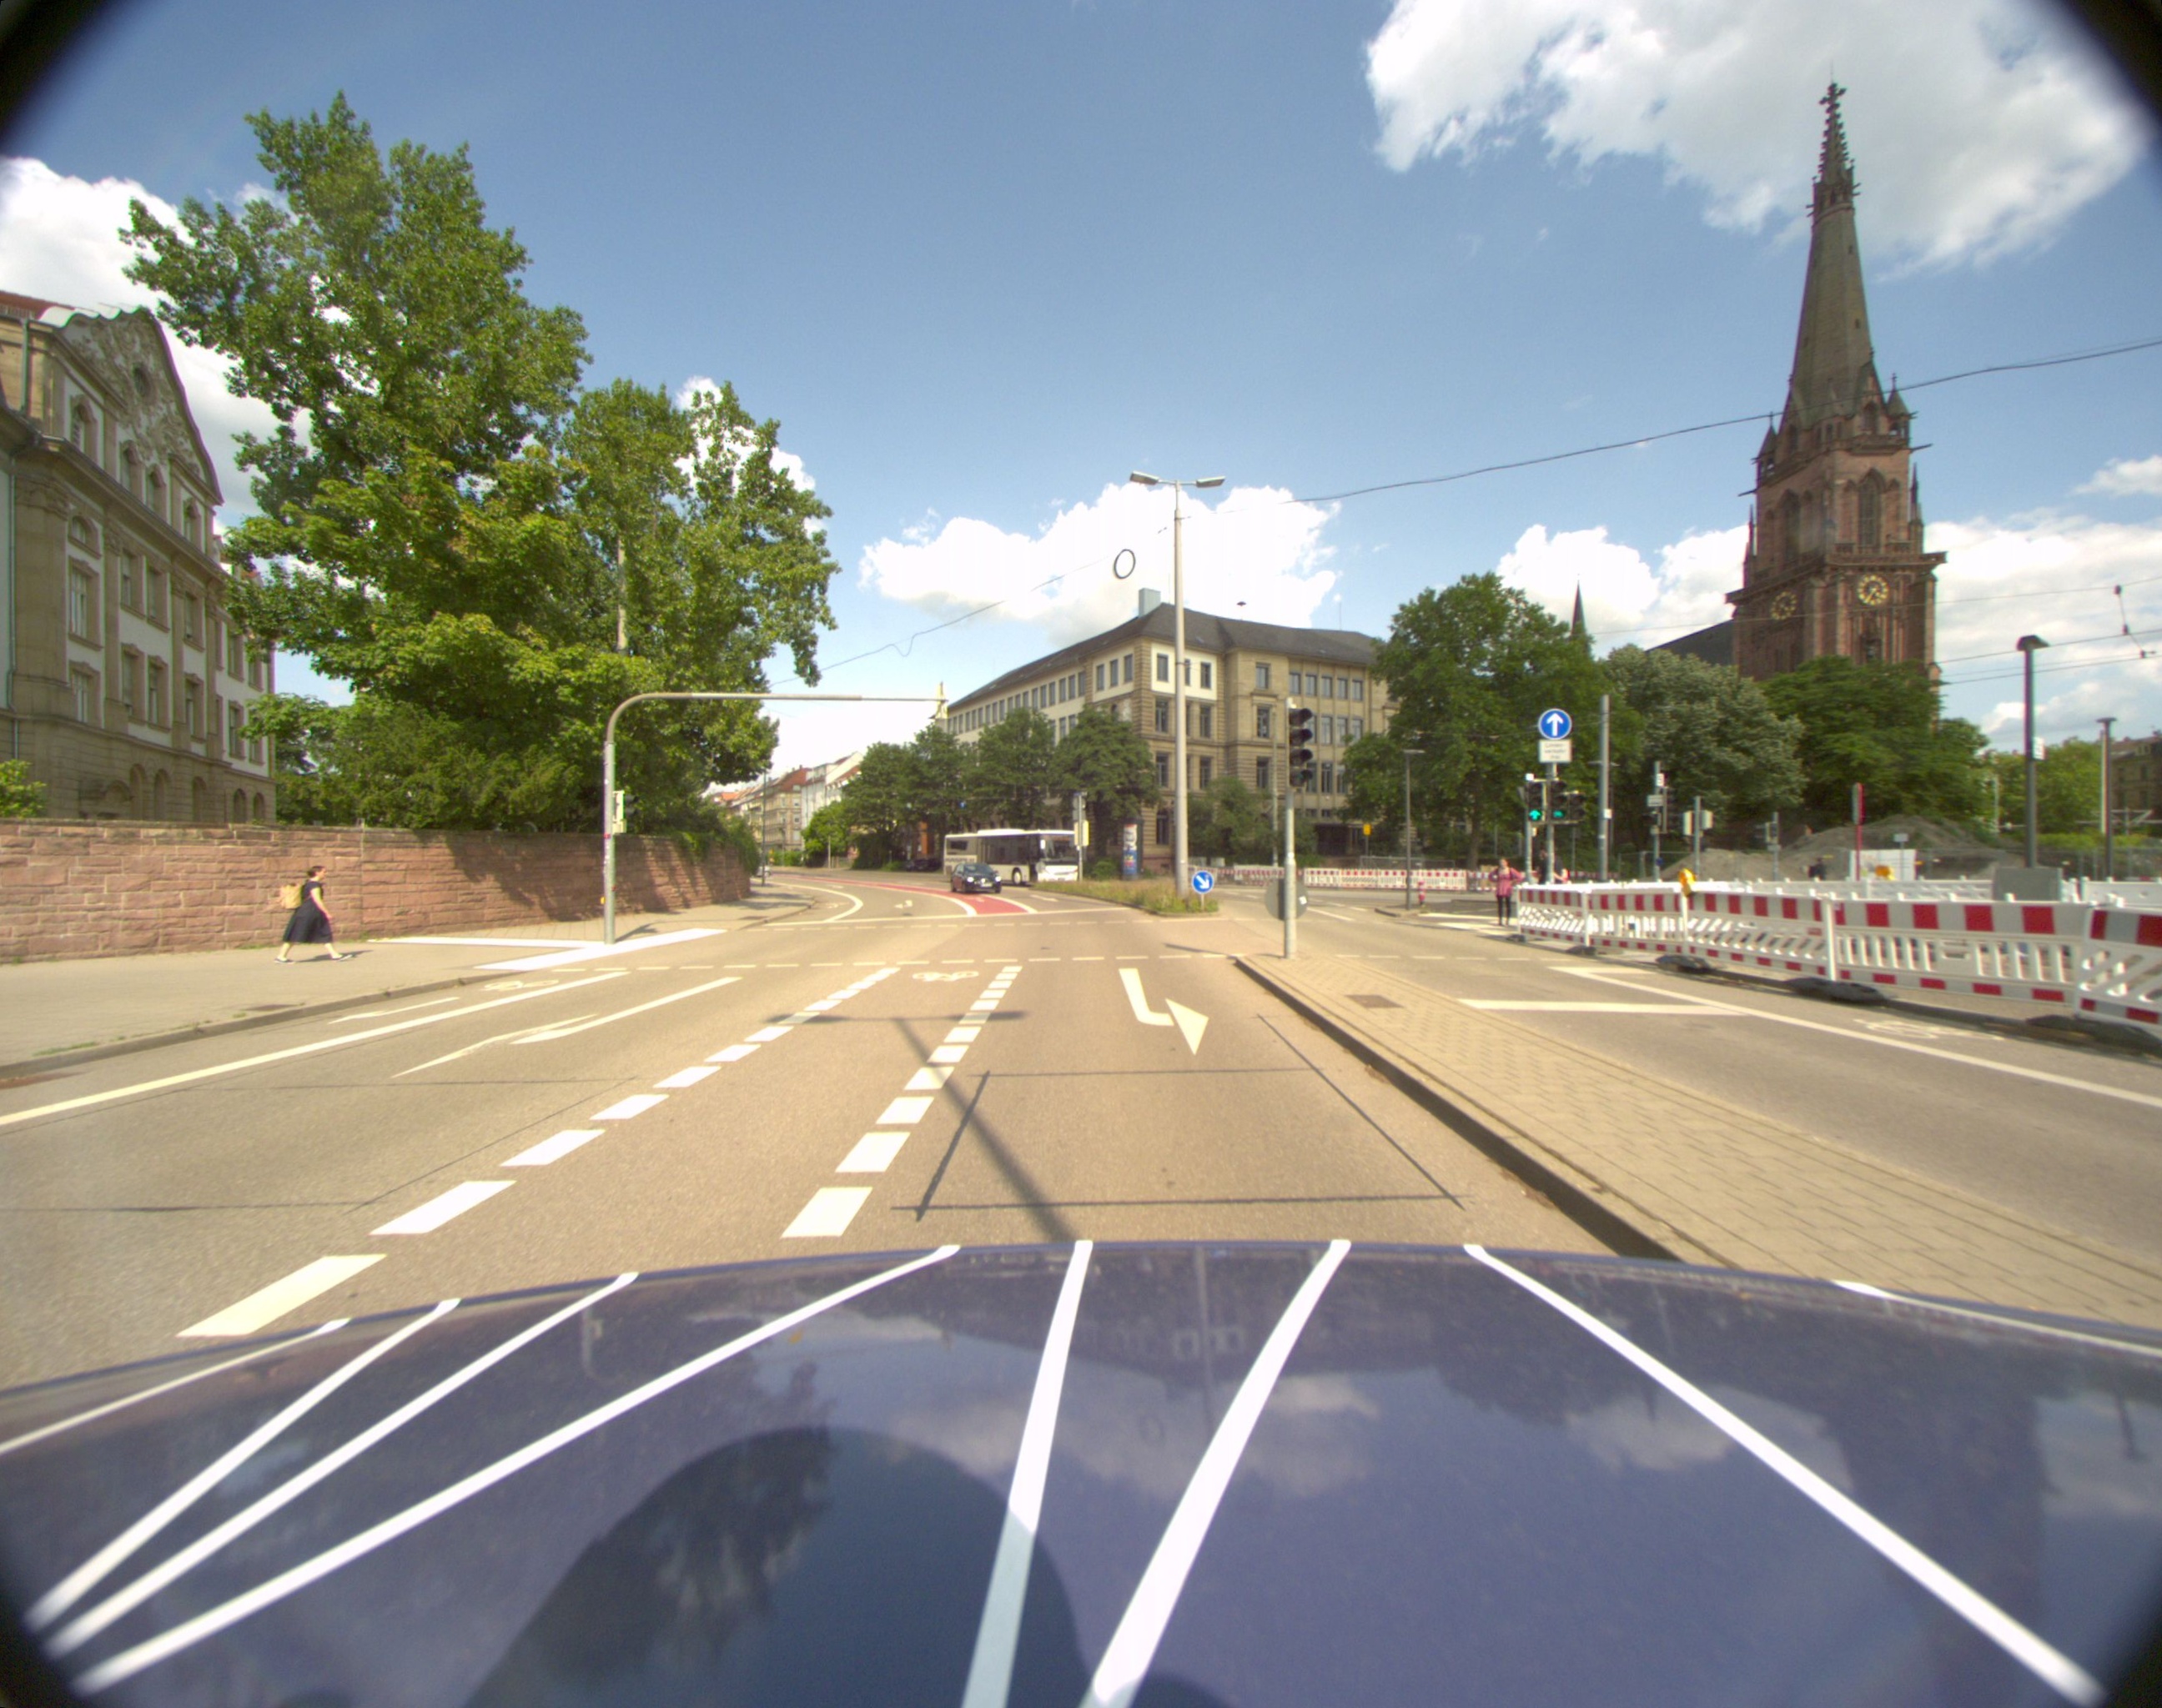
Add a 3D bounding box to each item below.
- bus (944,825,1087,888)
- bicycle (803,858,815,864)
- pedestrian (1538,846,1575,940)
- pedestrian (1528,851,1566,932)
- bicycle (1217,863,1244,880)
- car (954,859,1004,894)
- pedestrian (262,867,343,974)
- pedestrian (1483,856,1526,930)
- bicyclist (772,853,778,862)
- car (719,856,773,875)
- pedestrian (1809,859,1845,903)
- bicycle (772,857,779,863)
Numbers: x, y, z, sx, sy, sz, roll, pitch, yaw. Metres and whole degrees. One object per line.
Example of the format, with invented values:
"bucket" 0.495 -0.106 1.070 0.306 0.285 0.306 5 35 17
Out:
"bus" -4.362 0.083 46.253 2.932 3.309 12.173 -1 1 -35
"bicycle" -43.173 1.160 120.608 1.148 0.904 2.981 -4 2 -34
"pedestrian" 9.745 0.778 15.580 0.611 1.874 0.795 0 0 30
"pedestrian" 10.163 0.804 16.589 0.409 1.726 0.621 0 0 -6
"bicycle" 11.046 1.312 56.030 2.125 1.161 0.728 -1 1 -36
"car" -5.030 1.040 37.087 1.696 1.567 4.150 0 0 -19
"pedestrian" -12.546 1.032 12.263 0.748 1.630 0.889 1 1 44
"pedestrian" 9.782 0.884 17.575 0.613 1.696 0.622 0 0 -13
"bicyclist" -51.751 0.569 128.687 0.694 1.510 0.865 1 -1 -38
"car" -28.751 1.017 65.263 3.900 1.595 1.661 0 -2 -39
"pedestrian" 28.385 1.021 28.918 0.581 1.642 0.788 0 0 -19
"bicycle" -51.734 1.034 128.638 0.702 1.011 1.814 1 -1 -38
